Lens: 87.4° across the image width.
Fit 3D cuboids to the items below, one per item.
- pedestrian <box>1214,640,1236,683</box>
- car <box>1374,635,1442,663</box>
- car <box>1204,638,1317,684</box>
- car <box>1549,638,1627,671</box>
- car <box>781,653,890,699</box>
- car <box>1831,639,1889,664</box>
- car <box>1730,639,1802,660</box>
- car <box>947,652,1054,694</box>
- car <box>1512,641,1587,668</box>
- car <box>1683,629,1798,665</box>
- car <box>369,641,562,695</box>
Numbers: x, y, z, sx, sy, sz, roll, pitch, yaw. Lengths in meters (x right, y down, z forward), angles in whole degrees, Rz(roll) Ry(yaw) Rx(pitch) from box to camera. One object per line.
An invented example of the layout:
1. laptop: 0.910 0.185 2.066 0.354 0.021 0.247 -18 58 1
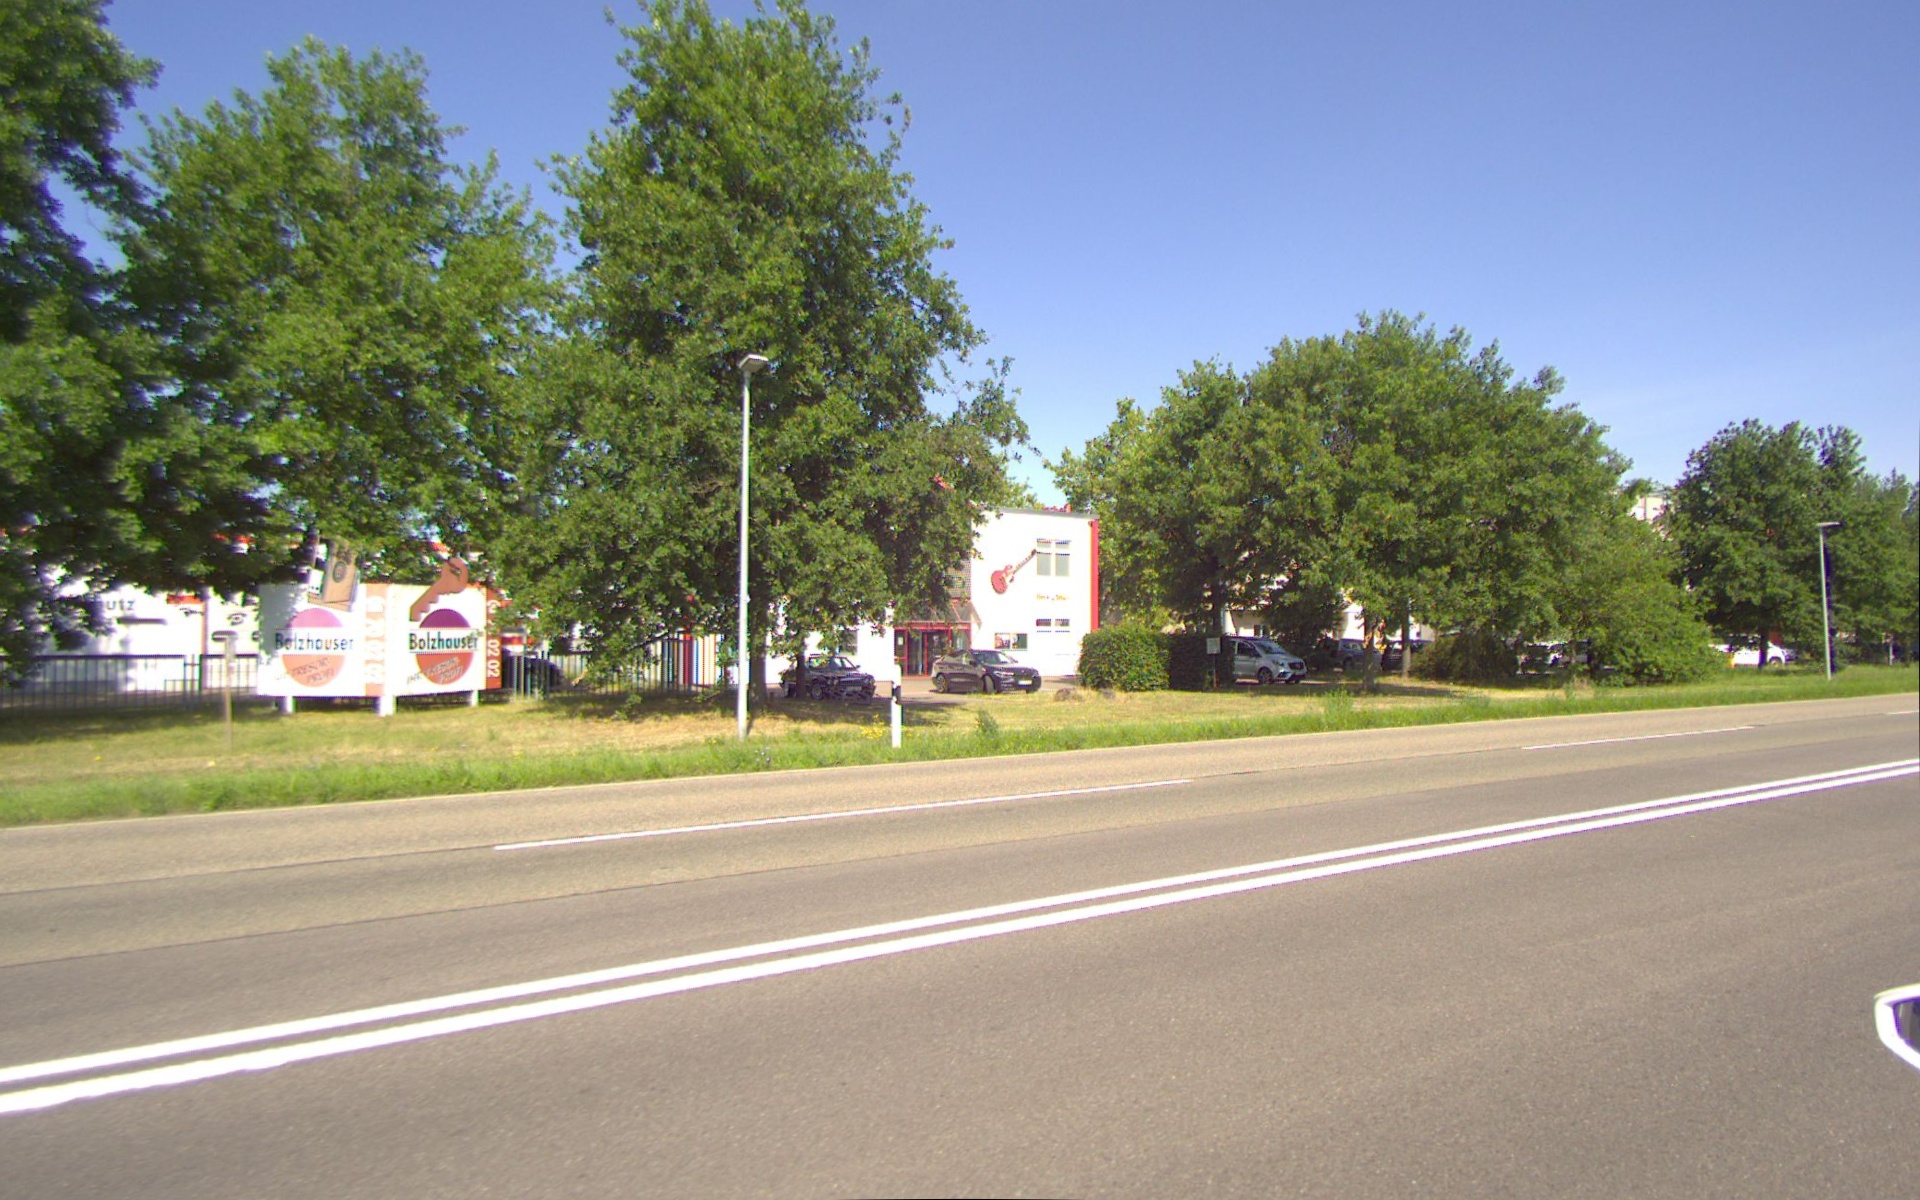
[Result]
1. pedestrian: 10.671 2.467 40.438 0.802 1.735 0.638 0 -2 9
2. car: 27.825 3.019 62.334 4.120 1.680 1.847 1 -2 -31
3. car: 12.148 2.486 40.868 1.977 1.753 4.204 1 -4 -30
4. car: 33.657 2.882 53.808 4.145 1.673 1.919 1 -2 -32
5. car: -3.937 2.384 31.190 1.835 1.342 4.332 2 -6 -30
6. car: 62.344 3.544 69.560 4.496 1.599 1.735 1 -2 -31
7. car: 63.894 3.929 79.649 1.723 1.606 4.115 1 -2 -31
8. car: 1.300 2.444 34.098 1.840 1.323 3.971 1 -4 -29
9. car: 32.796 3.029 55.861 4.145 1.412 1.919 1 -2 -32
10. car: 44.112 2.638 56.845 4.916 1.954 2.074 1 -2 0
11. car: -13.577 1.832 27.677 4.613 1.367 1.777 1 -3 -33
